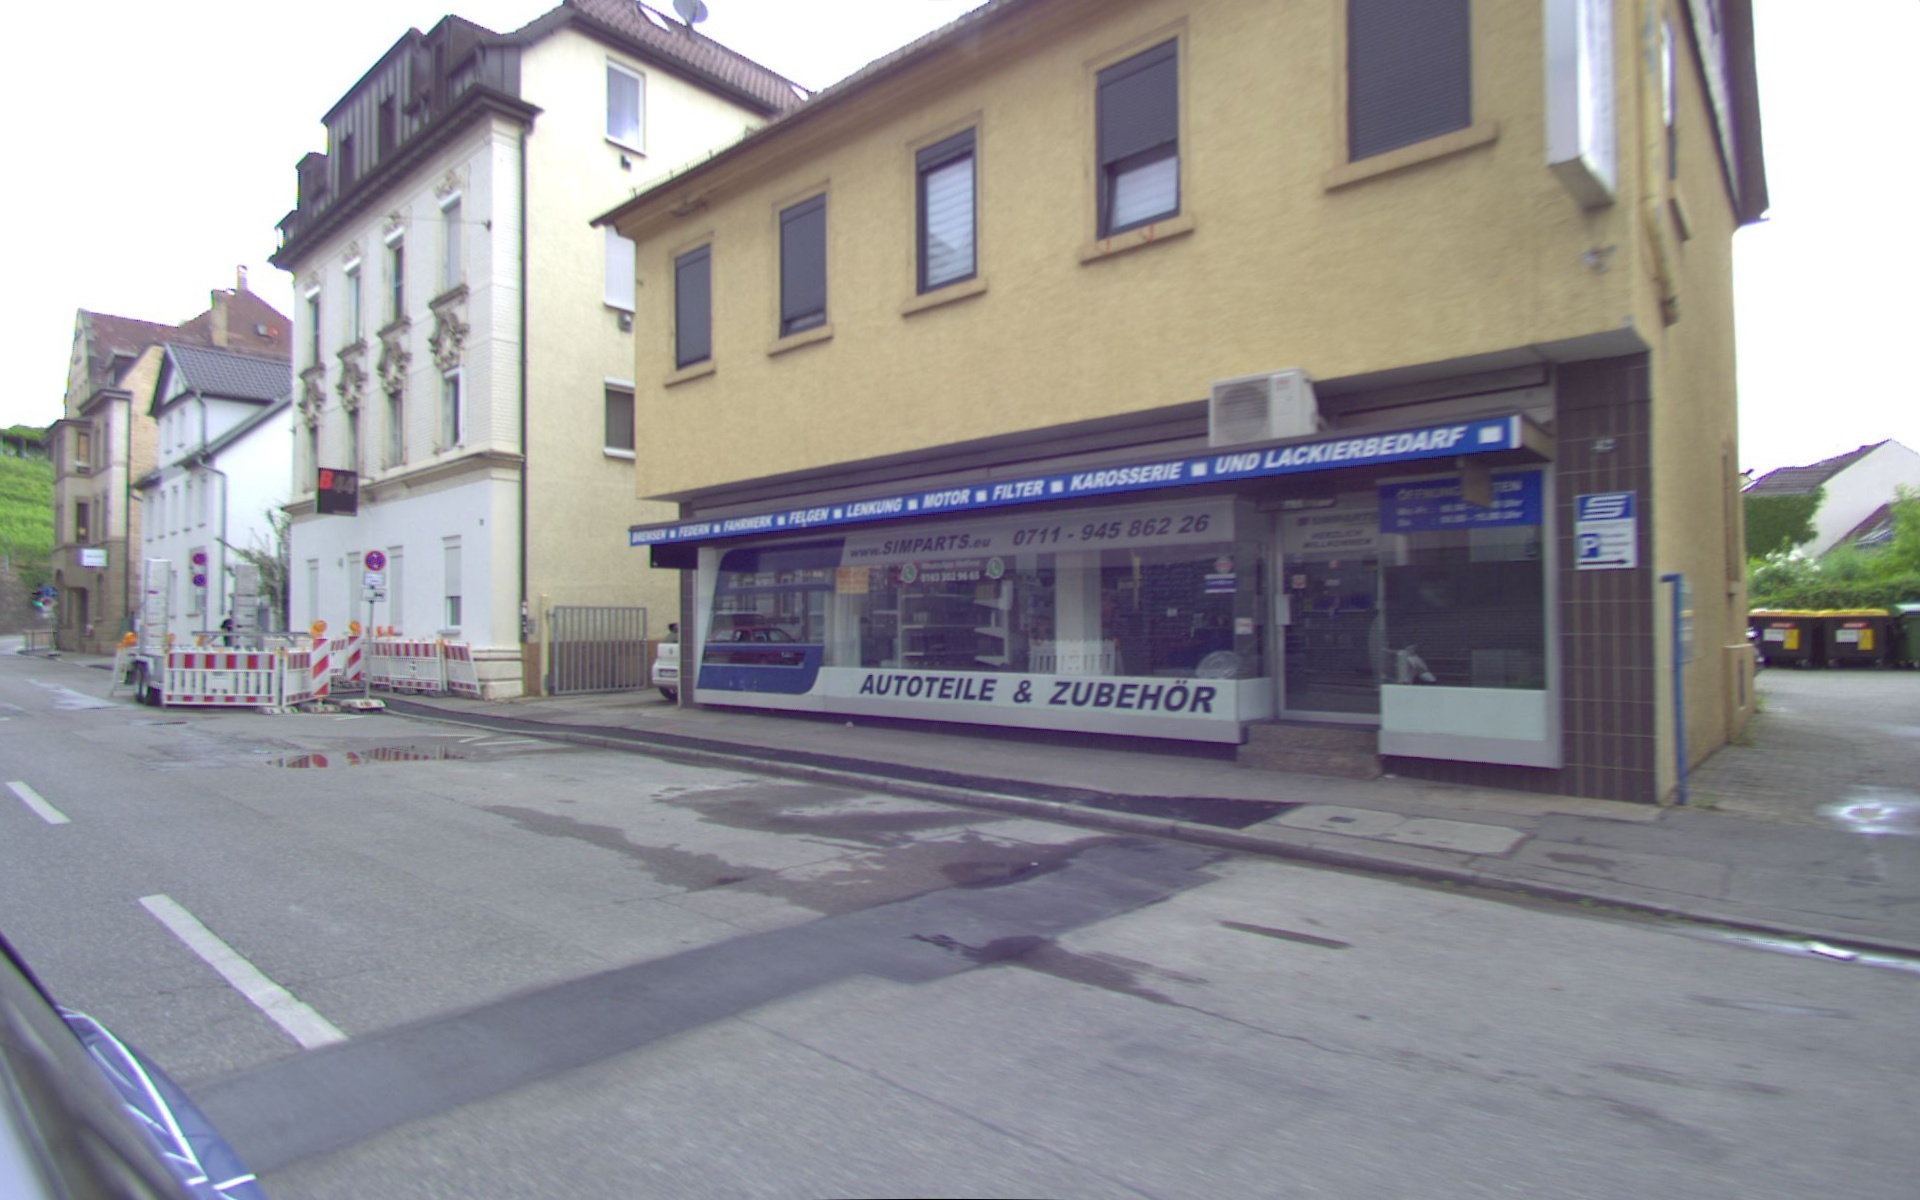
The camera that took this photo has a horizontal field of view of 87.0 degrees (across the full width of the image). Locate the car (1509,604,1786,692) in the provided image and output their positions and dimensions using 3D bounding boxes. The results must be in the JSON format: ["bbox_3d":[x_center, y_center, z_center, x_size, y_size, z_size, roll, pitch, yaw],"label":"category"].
[{"bbox_3d":[12.845,0.852,19.085,1.775,1.475,4.005,1,-2,-42],"label":"car"}]

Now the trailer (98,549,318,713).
[{"bbox_3d":[-15.370,0.632,20.505,6.303,2.825,2.418,-1,-3,43],"label":"trailer"}]

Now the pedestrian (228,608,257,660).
[{"bbox_3d":[-21.868,1.030,30.839,0.607,1.578,0.594,-1,-1,43],"label":"pedestrian"}]

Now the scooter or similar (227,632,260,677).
[{"bbox_3d":[-21.858,1.641,30.866,1.227,1.300,0.554,-1,-1,41],"label":"scooter or similar"}]

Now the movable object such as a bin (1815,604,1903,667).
[{"bbox_3d":[19.679,0.775,22.184,1.250,1.345,0.727,-1,-1,25],"label":"movable object such as a bin"}]

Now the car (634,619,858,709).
[{"bbox_3d":[-3.890,1.104,18.969,1.723,1.497,3.949,-1,-2,38],"label":"car"}]

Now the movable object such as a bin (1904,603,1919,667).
[{"bbox_3d":[21.034,0.735,21.520,1.187,1.345,0.727,-1,-1,25],"label":"movable object such as a bin"}]

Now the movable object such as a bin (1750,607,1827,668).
[{"bbox_3d":[18.561,0.829,22.698,1.157,1.345,0.727,-1,-1,25],"label":"movable object such as a bin"}]
